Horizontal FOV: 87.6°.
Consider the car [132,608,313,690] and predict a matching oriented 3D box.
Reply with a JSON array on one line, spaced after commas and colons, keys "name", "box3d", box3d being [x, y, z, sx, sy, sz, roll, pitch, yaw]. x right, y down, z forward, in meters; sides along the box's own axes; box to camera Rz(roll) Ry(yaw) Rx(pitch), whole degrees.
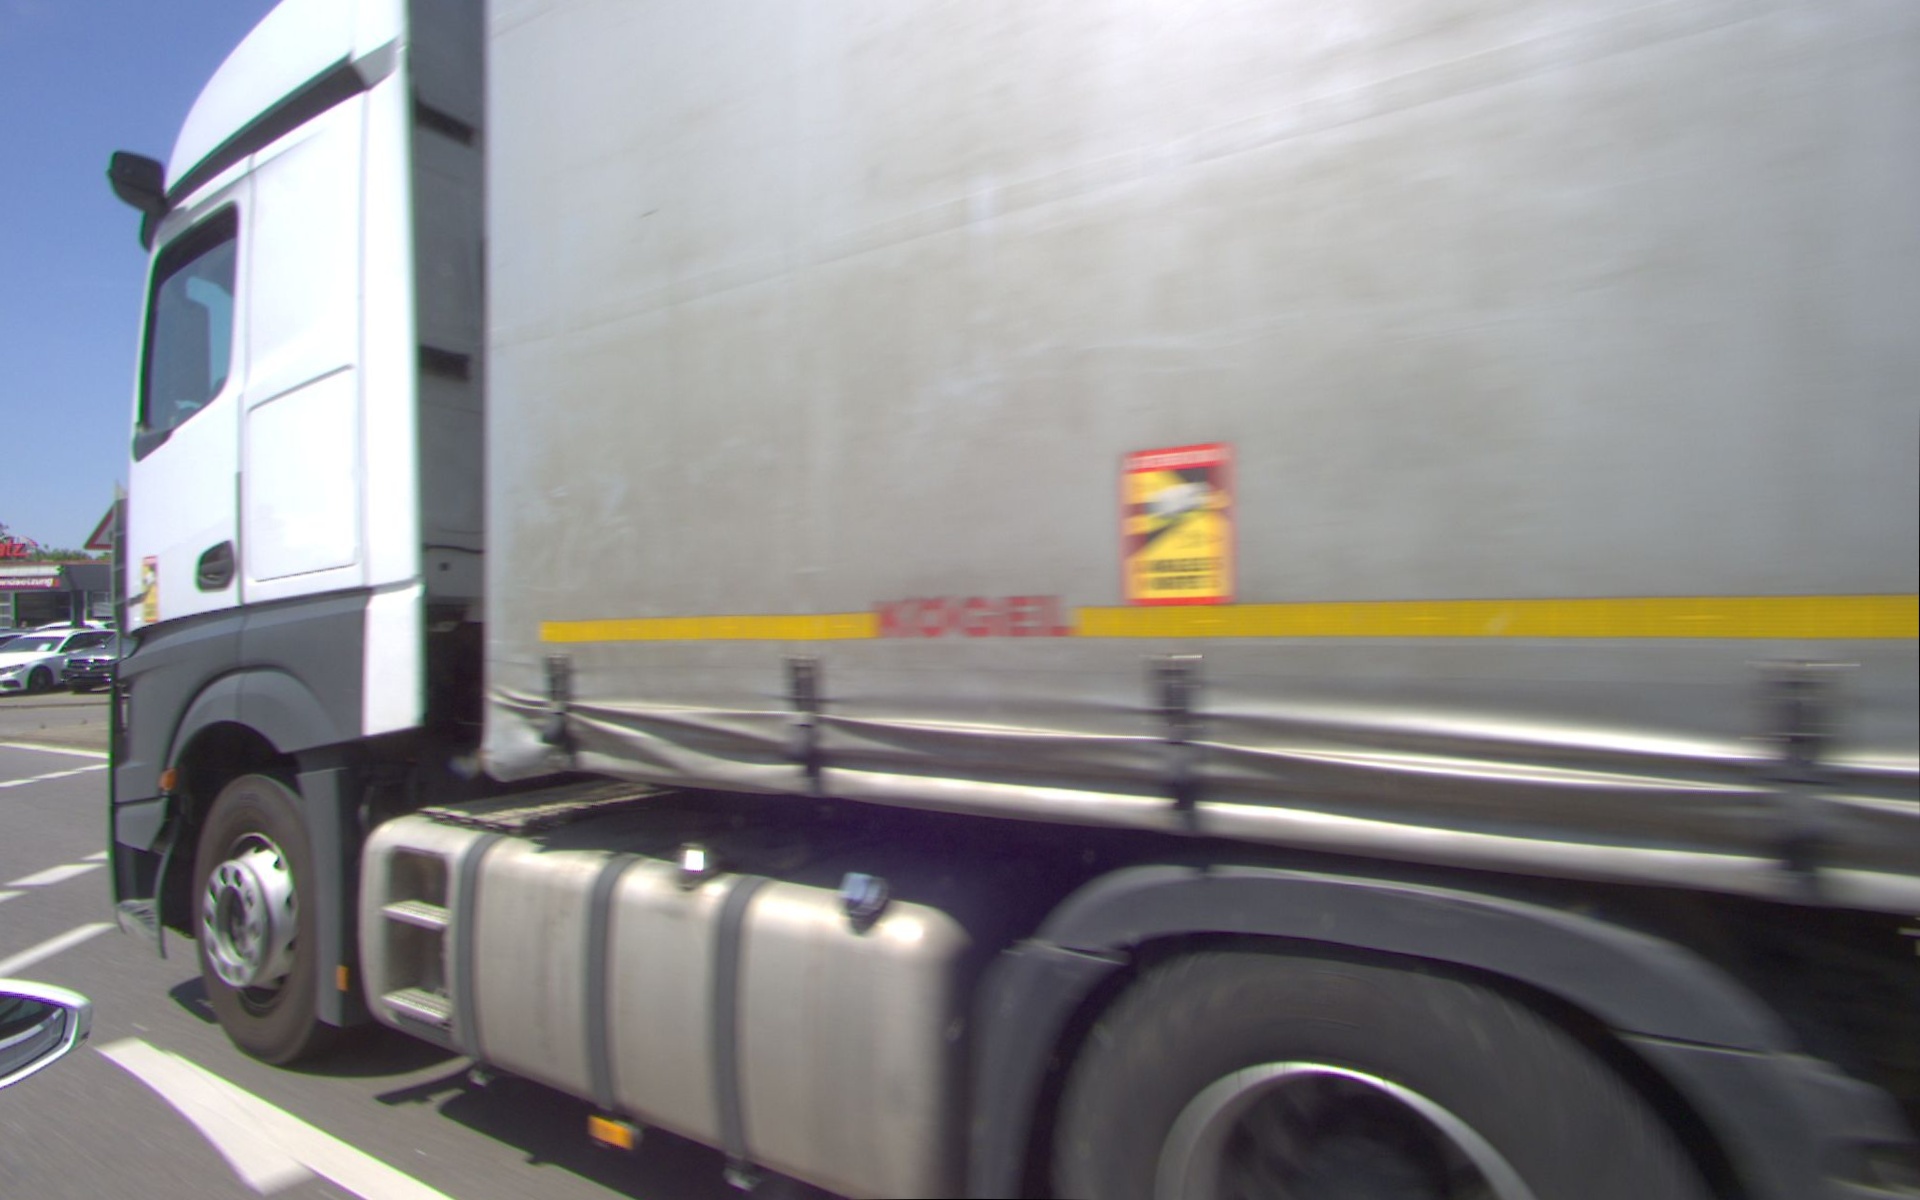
[{"name": "car", "box3d": [-19.032, 1.197, 26.126, 1.848, 1.715, 4.180, -2, 2, -6]}]

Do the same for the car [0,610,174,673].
[{"name": "car", "box3d": [-29.203, 1.351, 33.477, 4.070, 1.737, 1.852, -4, 2, -10]}]

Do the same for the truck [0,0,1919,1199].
[{"name": "truck", "box3d": [-0.655, -0.417, 3.777, 6.237, 4.065, 2.965, -1, 2, 32]}]

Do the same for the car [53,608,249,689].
[{"name": "car", "box3d": [-21.111, 1.199, 26.401, 1.848, 1.715, 4.171, -2, 2, -3]}]

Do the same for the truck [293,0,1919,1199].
[{"name": "truck", "box3d": [4.887, -0.560, 0.258, 13.921, 4.065, 2.965, -1, 2, 32]}]

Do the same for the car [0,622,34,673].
[{"name": "car", "box3d": [-29.640, 1.532, 28.205, 4.842, 1.406, 1.926, -4, 2, -10]}]

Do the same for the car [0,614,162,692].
[{"name": "car", "box3d": [-23.651, 1.320, 26.219, 1.961, 1.574, 4.734, -2, 3, -6]}]

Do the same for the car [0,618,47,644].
[{"name": "car", "box3d": [-53.161, 1.709, 55.443, 1.646, 1.392, 3.598, 0, -2, 12]}]

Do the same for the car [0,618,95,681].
[{"name": "car", "box3d": [-26.125, 1.407, 26.886, 1.712, 1.429, 4.471, -1, 4, 2]}]
